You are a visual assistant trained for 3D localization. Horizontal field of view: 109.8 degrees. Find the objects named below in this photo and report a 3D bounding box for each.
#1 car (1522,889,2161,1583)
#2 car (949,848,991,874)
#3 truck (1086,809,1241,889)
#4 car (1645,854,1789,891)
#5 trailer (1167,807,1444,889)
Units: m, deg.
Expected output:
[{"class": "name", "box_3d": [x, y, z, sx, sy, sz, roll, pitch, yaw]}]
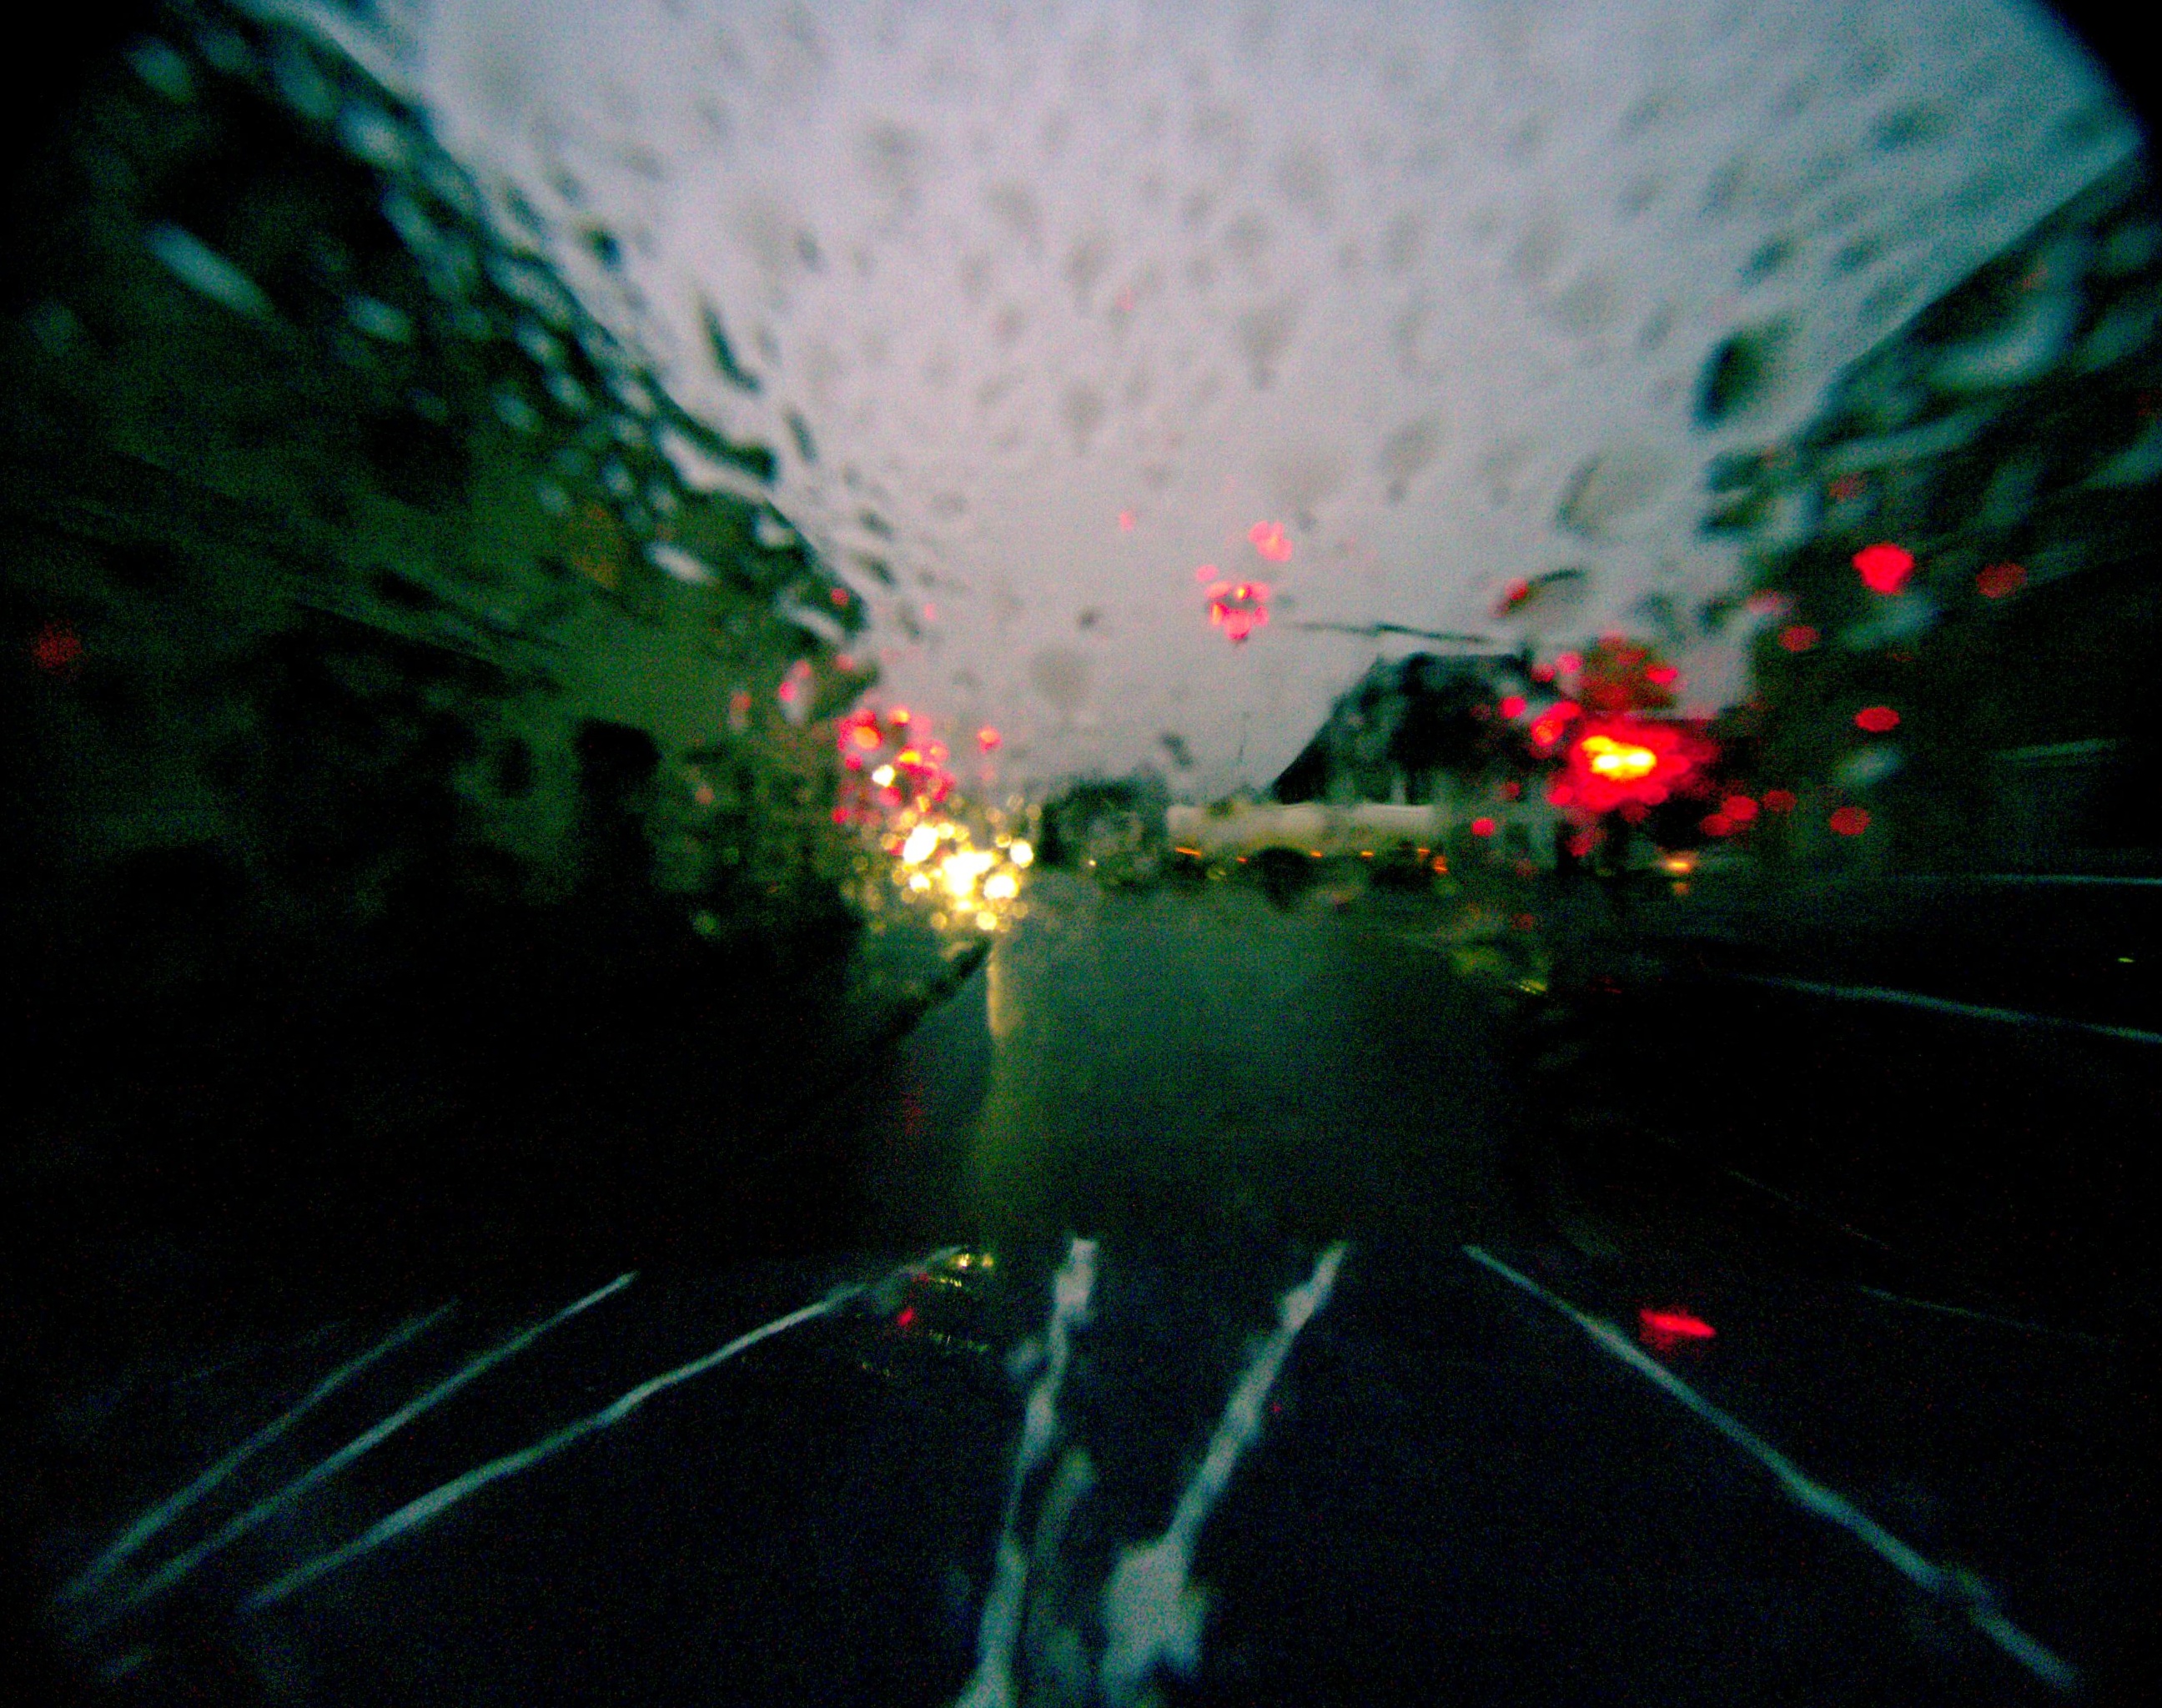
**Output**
[{"class": "car", "box_3d": [3.299, 0.889, 1.914, 1.884, 1.386, 4.524, 0, 0, 2]}, {"class": "car", "box_3d": [-7.523, 0.446, 51.038, 1.820, 1.679, 3.909, 0, 0, -24]}, {"class": "truck", "box_3d": [3.370, -0.179, 32.003, 6.267, 3.210, 2.470, 0, 0, 1]}, {"class": "car", "box_3d": [25.691, 0.735, 30.777, 4.377, 1.430, 1.668, 0, -1, 2]}, {"class": "trailer", "box_3d": [9.164, -0.224, 31.859, 10.859, 3.221, 2.496, 0, 0, 1]}]
